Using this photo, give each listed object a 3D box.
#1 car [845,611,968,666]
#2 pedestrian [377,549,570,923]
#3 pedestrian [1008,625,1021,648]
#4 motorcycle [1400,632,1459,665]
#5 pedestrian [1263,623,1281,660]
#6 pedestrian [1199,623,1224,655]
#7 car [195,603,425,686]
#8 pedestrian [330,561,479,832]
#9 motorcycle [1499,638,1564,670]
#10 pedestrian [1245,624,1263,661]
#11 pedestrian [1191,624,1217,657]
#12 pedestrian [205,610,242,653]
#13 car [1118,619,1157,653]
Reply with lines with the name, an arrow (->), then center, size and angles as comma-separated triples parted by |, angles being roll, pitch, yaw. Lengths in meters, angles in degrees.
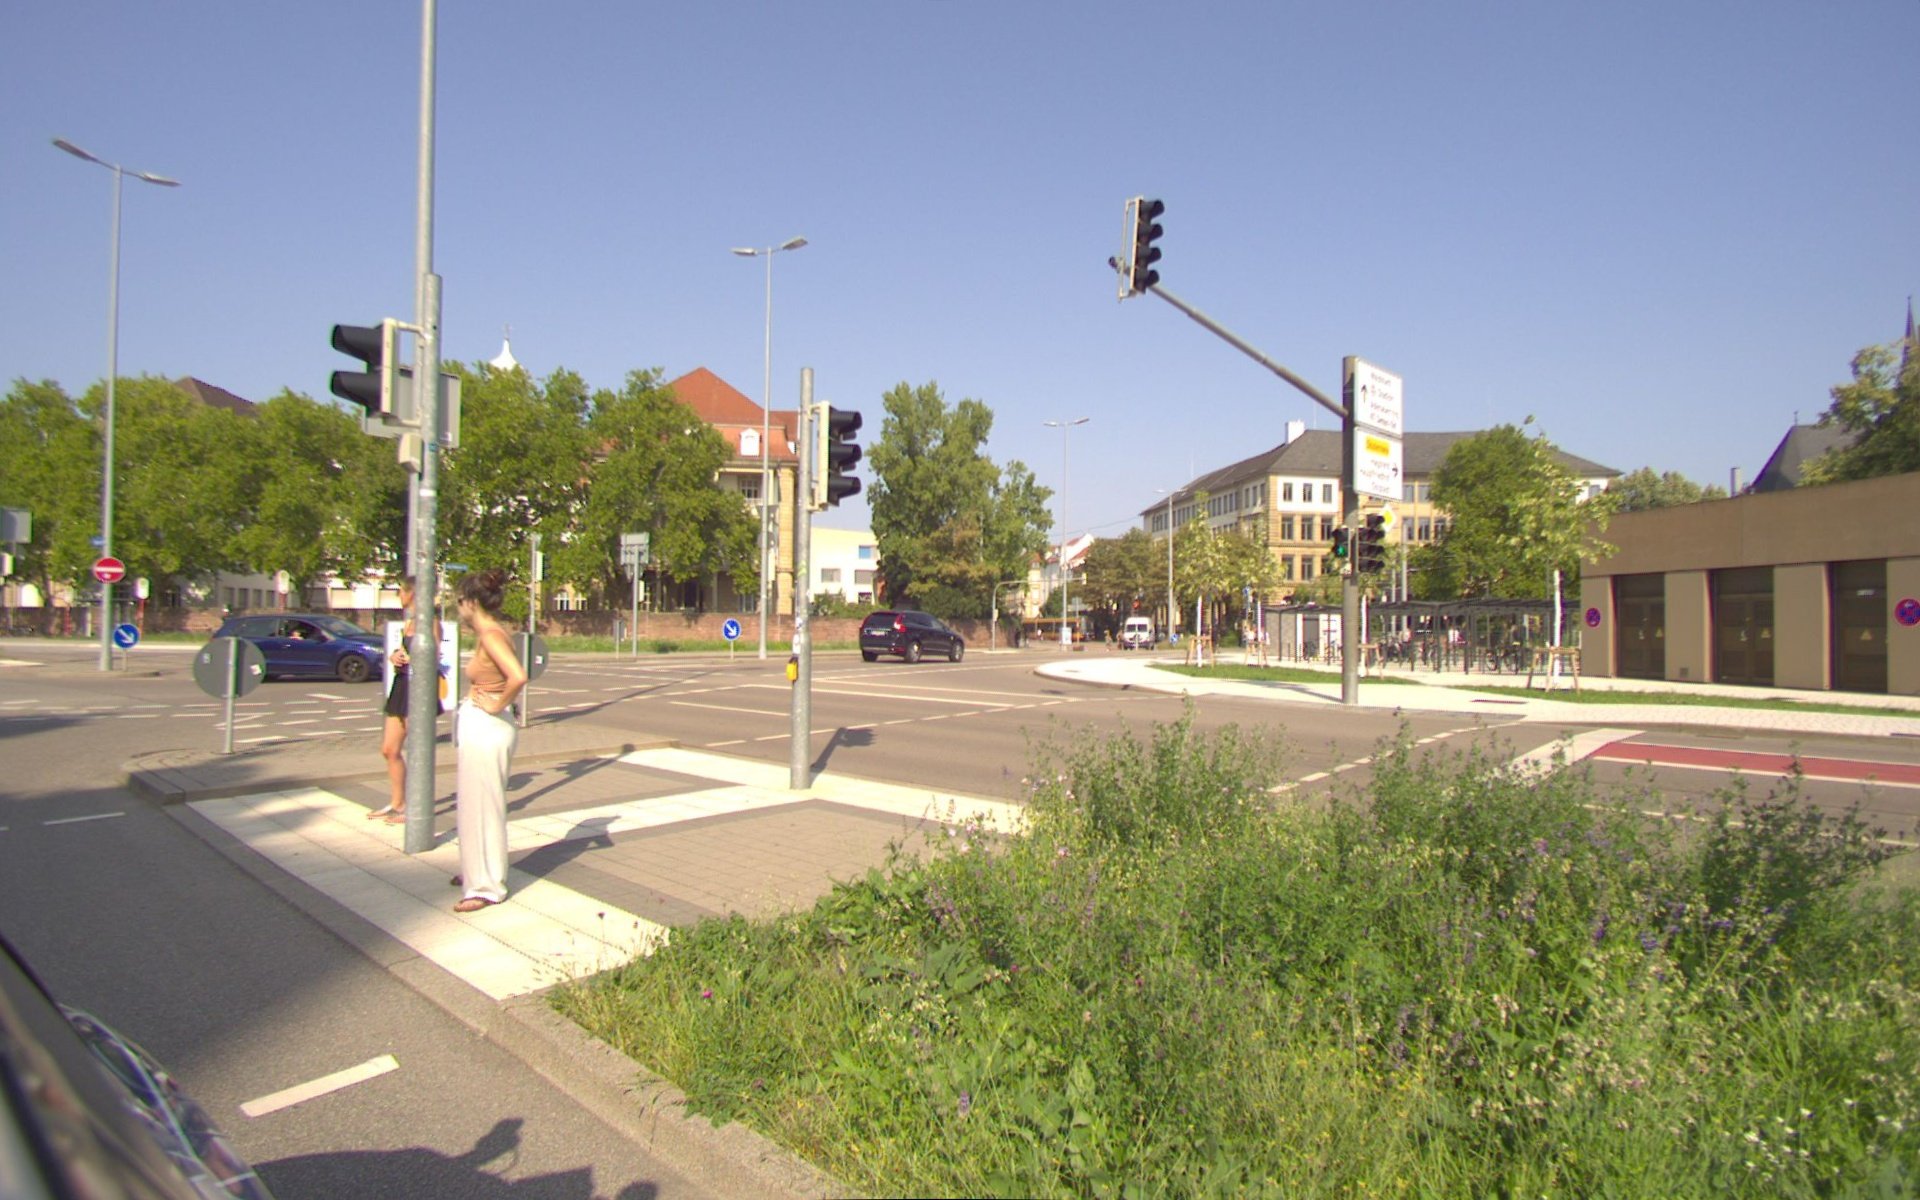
car -> -1.655, 1.231, 32.852 | 1.992, 1.646, 4.328 | -1, -2, 30
pedestrian -> -2.353, 0.621, 4.986 | 0.658, 1.667, 0.781 | 1, -2, -12
pedestrian -> 4.770, 3.164, 87.969 | 0.819, 2.029, 0.808 | -1, 0, 34
motorcycle -> 21.762, 2.239, 46.990 | 0.776, 1.460, 2.778 | 1, -2, -17
pedestrian -> 17.254, 2.299, 55.910 | 0.853, 2.029, 1.003 | 0, -2, 13
pedestrian -> 15.771, 2.440, 63.365 | 1.207, 2.029, 1.329 | -1, -2, 30
car -> -13.701, 0.957, 21.488 | 3.792, 1.509, 1.627 | -2, -4, -4
pedestrian -> -3.778, 0.624, 6.886 | 0.691, 1.712, 0.659 | -2, -3, 42
motorcycle -> 22.995, 2.164, 40.797 | 0.746, 1.214, 2.382 | 1, -2, -19
pedestrian -> 16.317, 2.345, 56.170 | 0.853, 2.029, 1.003 | 0, -2, 13
pedestrian -> 14.871, 2.459, 61.618 | 1.207, 2.029, 1.329 | -1, -2, 30
pedestrian -> -35.694, 1.511, 49.049 | 1.314, 2.029, 1.067 | -1, -1, 33
car -> 14.079, 2.778, 79.952 | 1.986, 2.470, 5.513 | -1, 0, 21
